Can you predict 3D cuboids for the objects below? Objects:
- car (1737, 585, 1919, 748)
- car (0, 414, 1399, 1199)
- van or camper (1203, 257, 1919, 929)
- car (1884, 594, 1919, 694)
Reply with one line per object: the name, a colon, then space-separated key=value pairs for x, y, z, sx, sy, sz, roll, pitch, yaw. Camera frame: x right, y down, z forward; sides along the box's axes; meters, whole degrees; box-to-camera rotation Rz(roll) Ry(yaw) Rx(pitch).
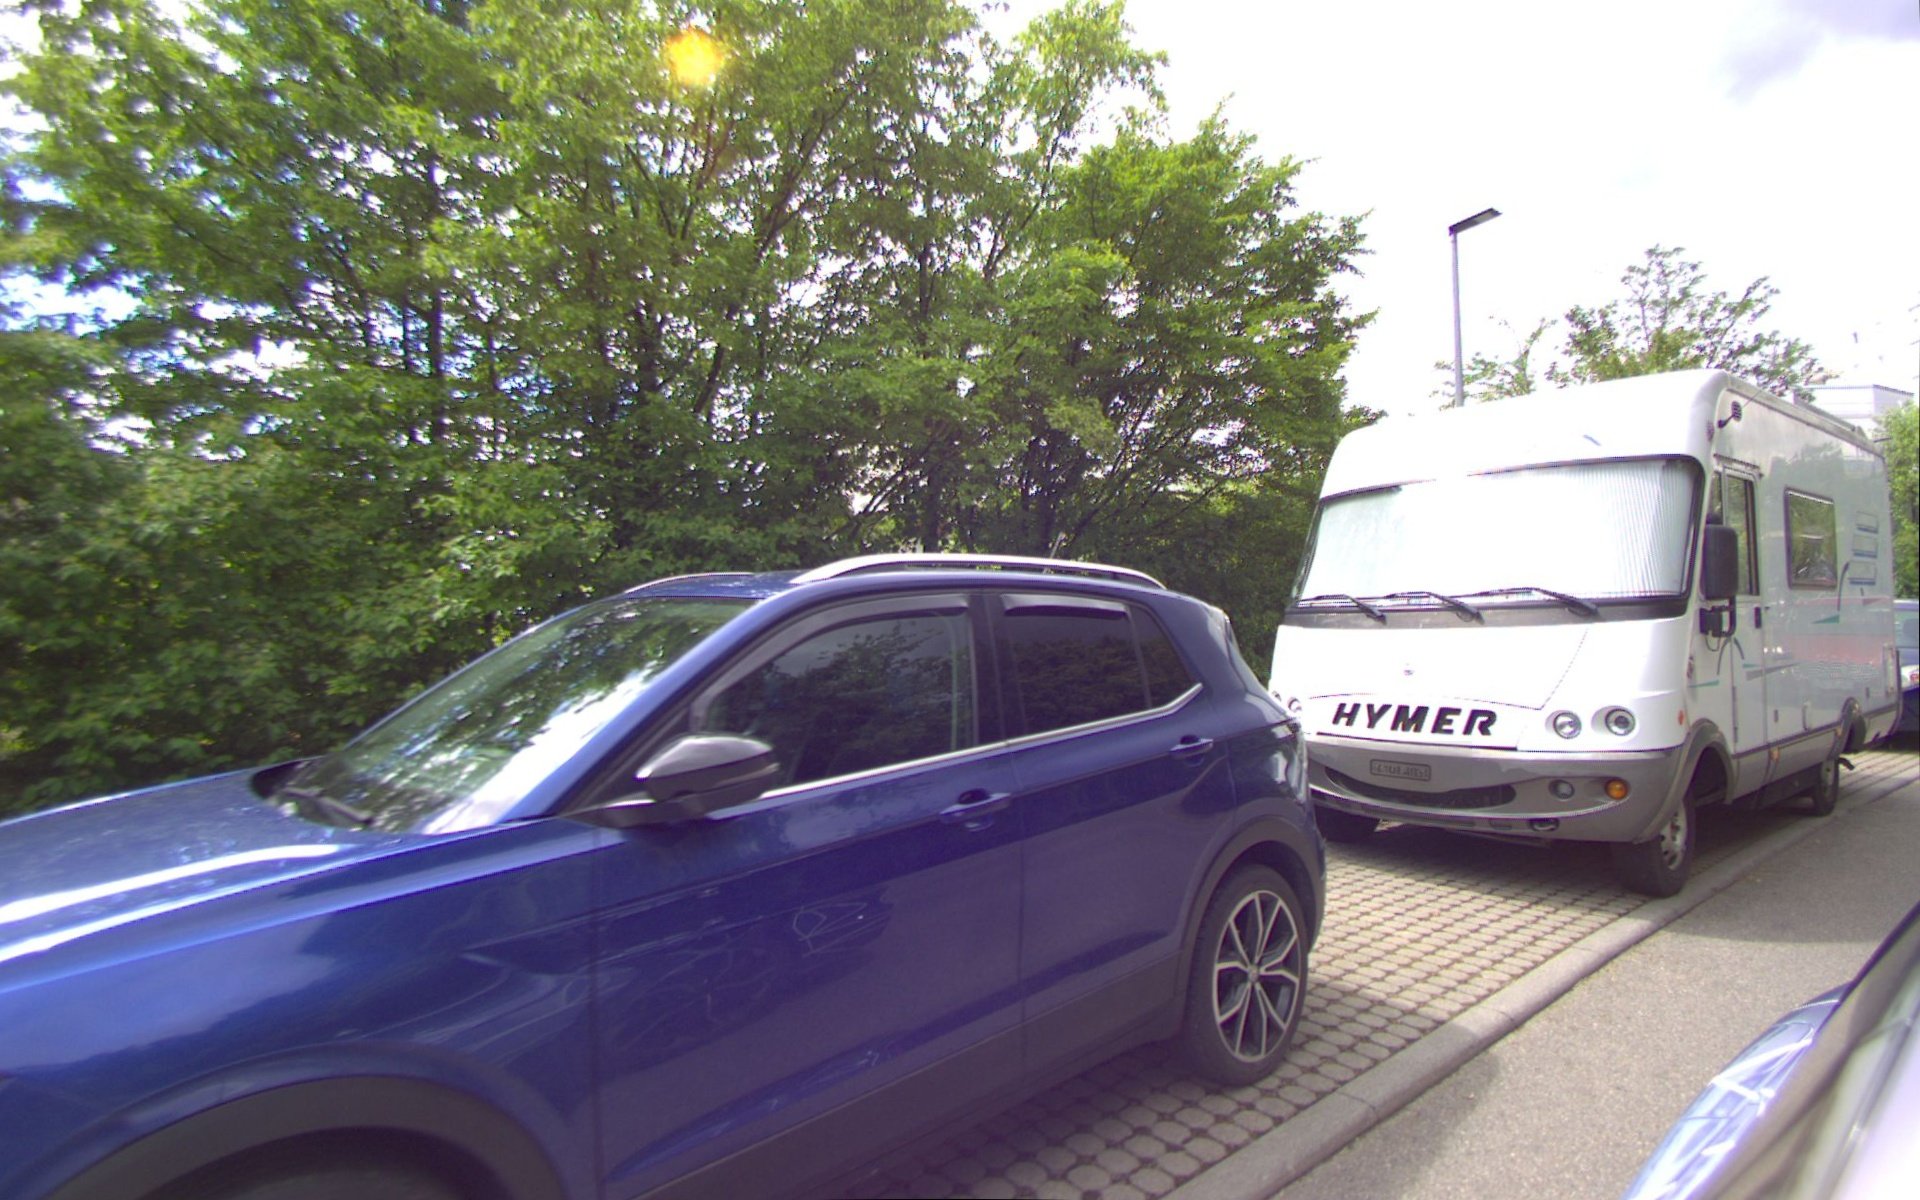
car: x=10.477 y=0.631 z=11.463 sx=3.818 sy=1.538 sz=1.733 roll=-2 pitch=0 yaw=-38
car: x=-0.542 y=0.624 z=2.802 sx=3.931 sy=1.612 sz=1.712 roll=0 pitch=-3 yaw=-42
van or camper: x=4.635 y=0.004 z=7.159 sx=6.037 sy=2.906 sz=2.337 roll=0 pitch=-3 yaw=-38
car: x=15.930 y=0.616 z=15.374 sx=4.249 sy=1.453 sz=1.782 roll=0 pitch=-1 yaw=-33
